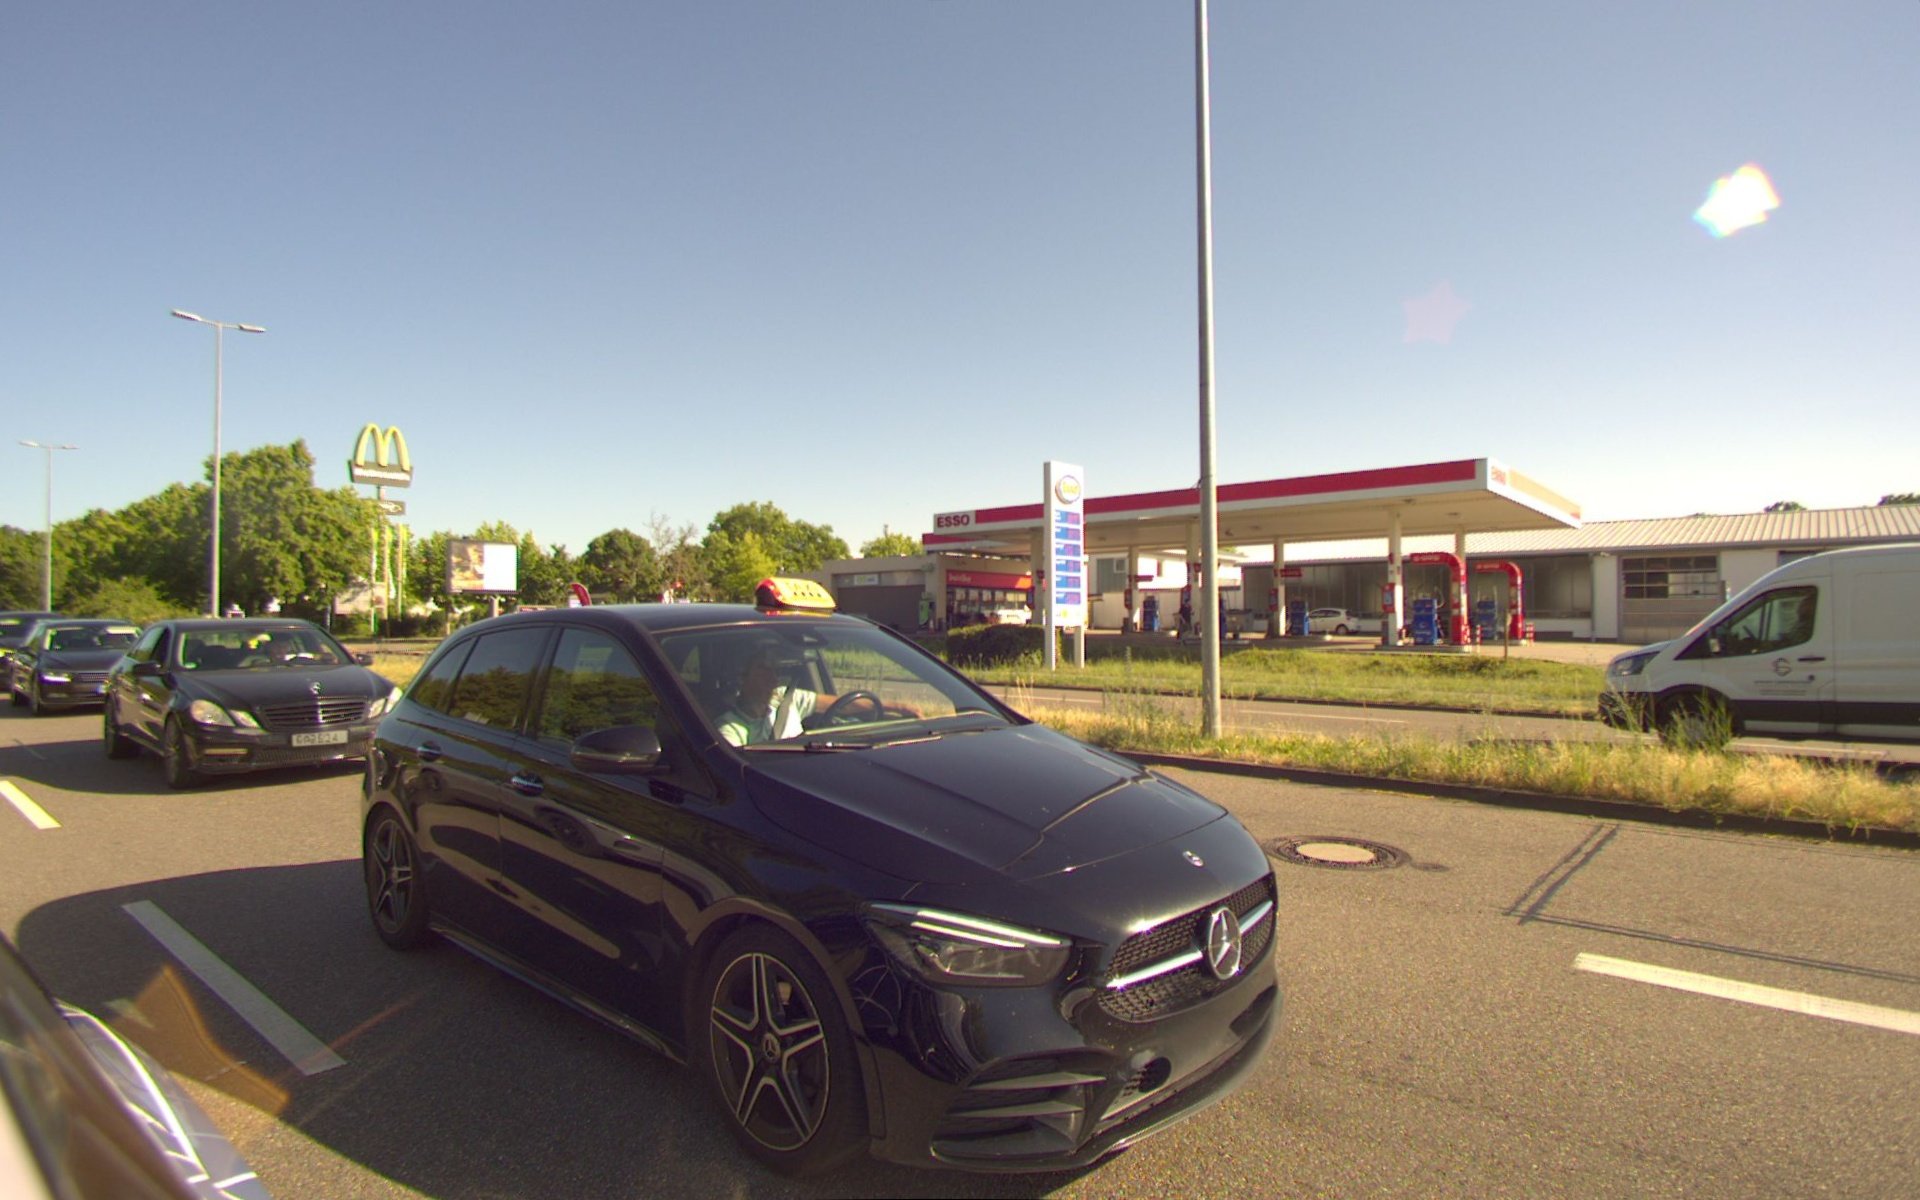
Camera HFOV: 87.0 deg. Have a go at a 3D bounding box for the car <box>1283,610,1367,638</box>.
[{"bbox_3d":[19.772,1.303,54.898,3.975,1.420,1.661,-1,-4,40],"label":"car"}]

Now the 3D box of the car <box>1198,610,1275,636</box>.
[{"bbox_3d":[15.890,1.336,58.284,3.975,1.420,1.661,-1,-4,40],"label":"car"}]

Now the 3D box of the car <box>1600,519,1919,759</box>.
[{"bbox_3d":[10.582,0.462,11.076,5.819,2.466,2.001,-1,-5,41],"label":"car"}]

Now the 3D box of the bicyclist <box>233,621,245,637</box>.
[{"bbox_3d":[-58.770,2.388,82.468,0.700,1.298,0.621,-1,0,42],"label":"bicyclist"}]

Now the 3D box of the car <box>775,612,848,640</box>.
[{"bbox_3d":[-8.067,1.393,54.870,3.975,1.420,1.661,-1,-4,40],"label":"car"}]

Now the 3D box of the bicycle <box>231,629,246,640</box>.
[{"bbox_3d":[-58.734,2.788,82.420,1.741,0.874,0.621,-1,0,42],"label":"bicycle"}]

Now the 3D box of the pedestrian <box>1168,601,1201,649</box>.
[{"bbox_3d":[8.374,0.931,37.771,0.903,1.763,0.780,-1,0,42],"label":"pedestrian"}]

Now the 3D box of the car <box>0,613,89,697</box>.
[{"bbox_3d":[-19.992,1.116,21.503,3.876,1.629,1.653,-1,0,40],"label":"car"}]

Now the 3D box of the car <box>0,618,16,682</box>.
[{"bbox_3d":[-25.238,1.265,25.559,3.774,1.567,1.615,-1,0,40],"label":"car"}]

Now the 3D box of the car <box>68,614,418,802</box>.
[{"bbox_3d":[-7.340,0.885,10.188,4.400,1.449,1.845,-1,0,40],"label":"car"}]

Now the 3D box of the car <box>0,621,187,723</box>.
[{"bbox_3d":[-14.451,1.094,16.738,4.284,1.438,1.775,-1,0,40],"label":"car"}]

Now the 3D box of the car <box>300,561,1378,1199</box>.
[{"bbox_3d":[-0.884,0.684,4.029,4.400,1.502,1.741,-1,0,40],"label":"car"}]

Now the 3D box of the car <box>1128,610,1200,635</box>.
[{"bbox_3d":[12.373,1.365,61.440,3.975,1.420,1.661,-1,-4,40],"label":"car"}]
